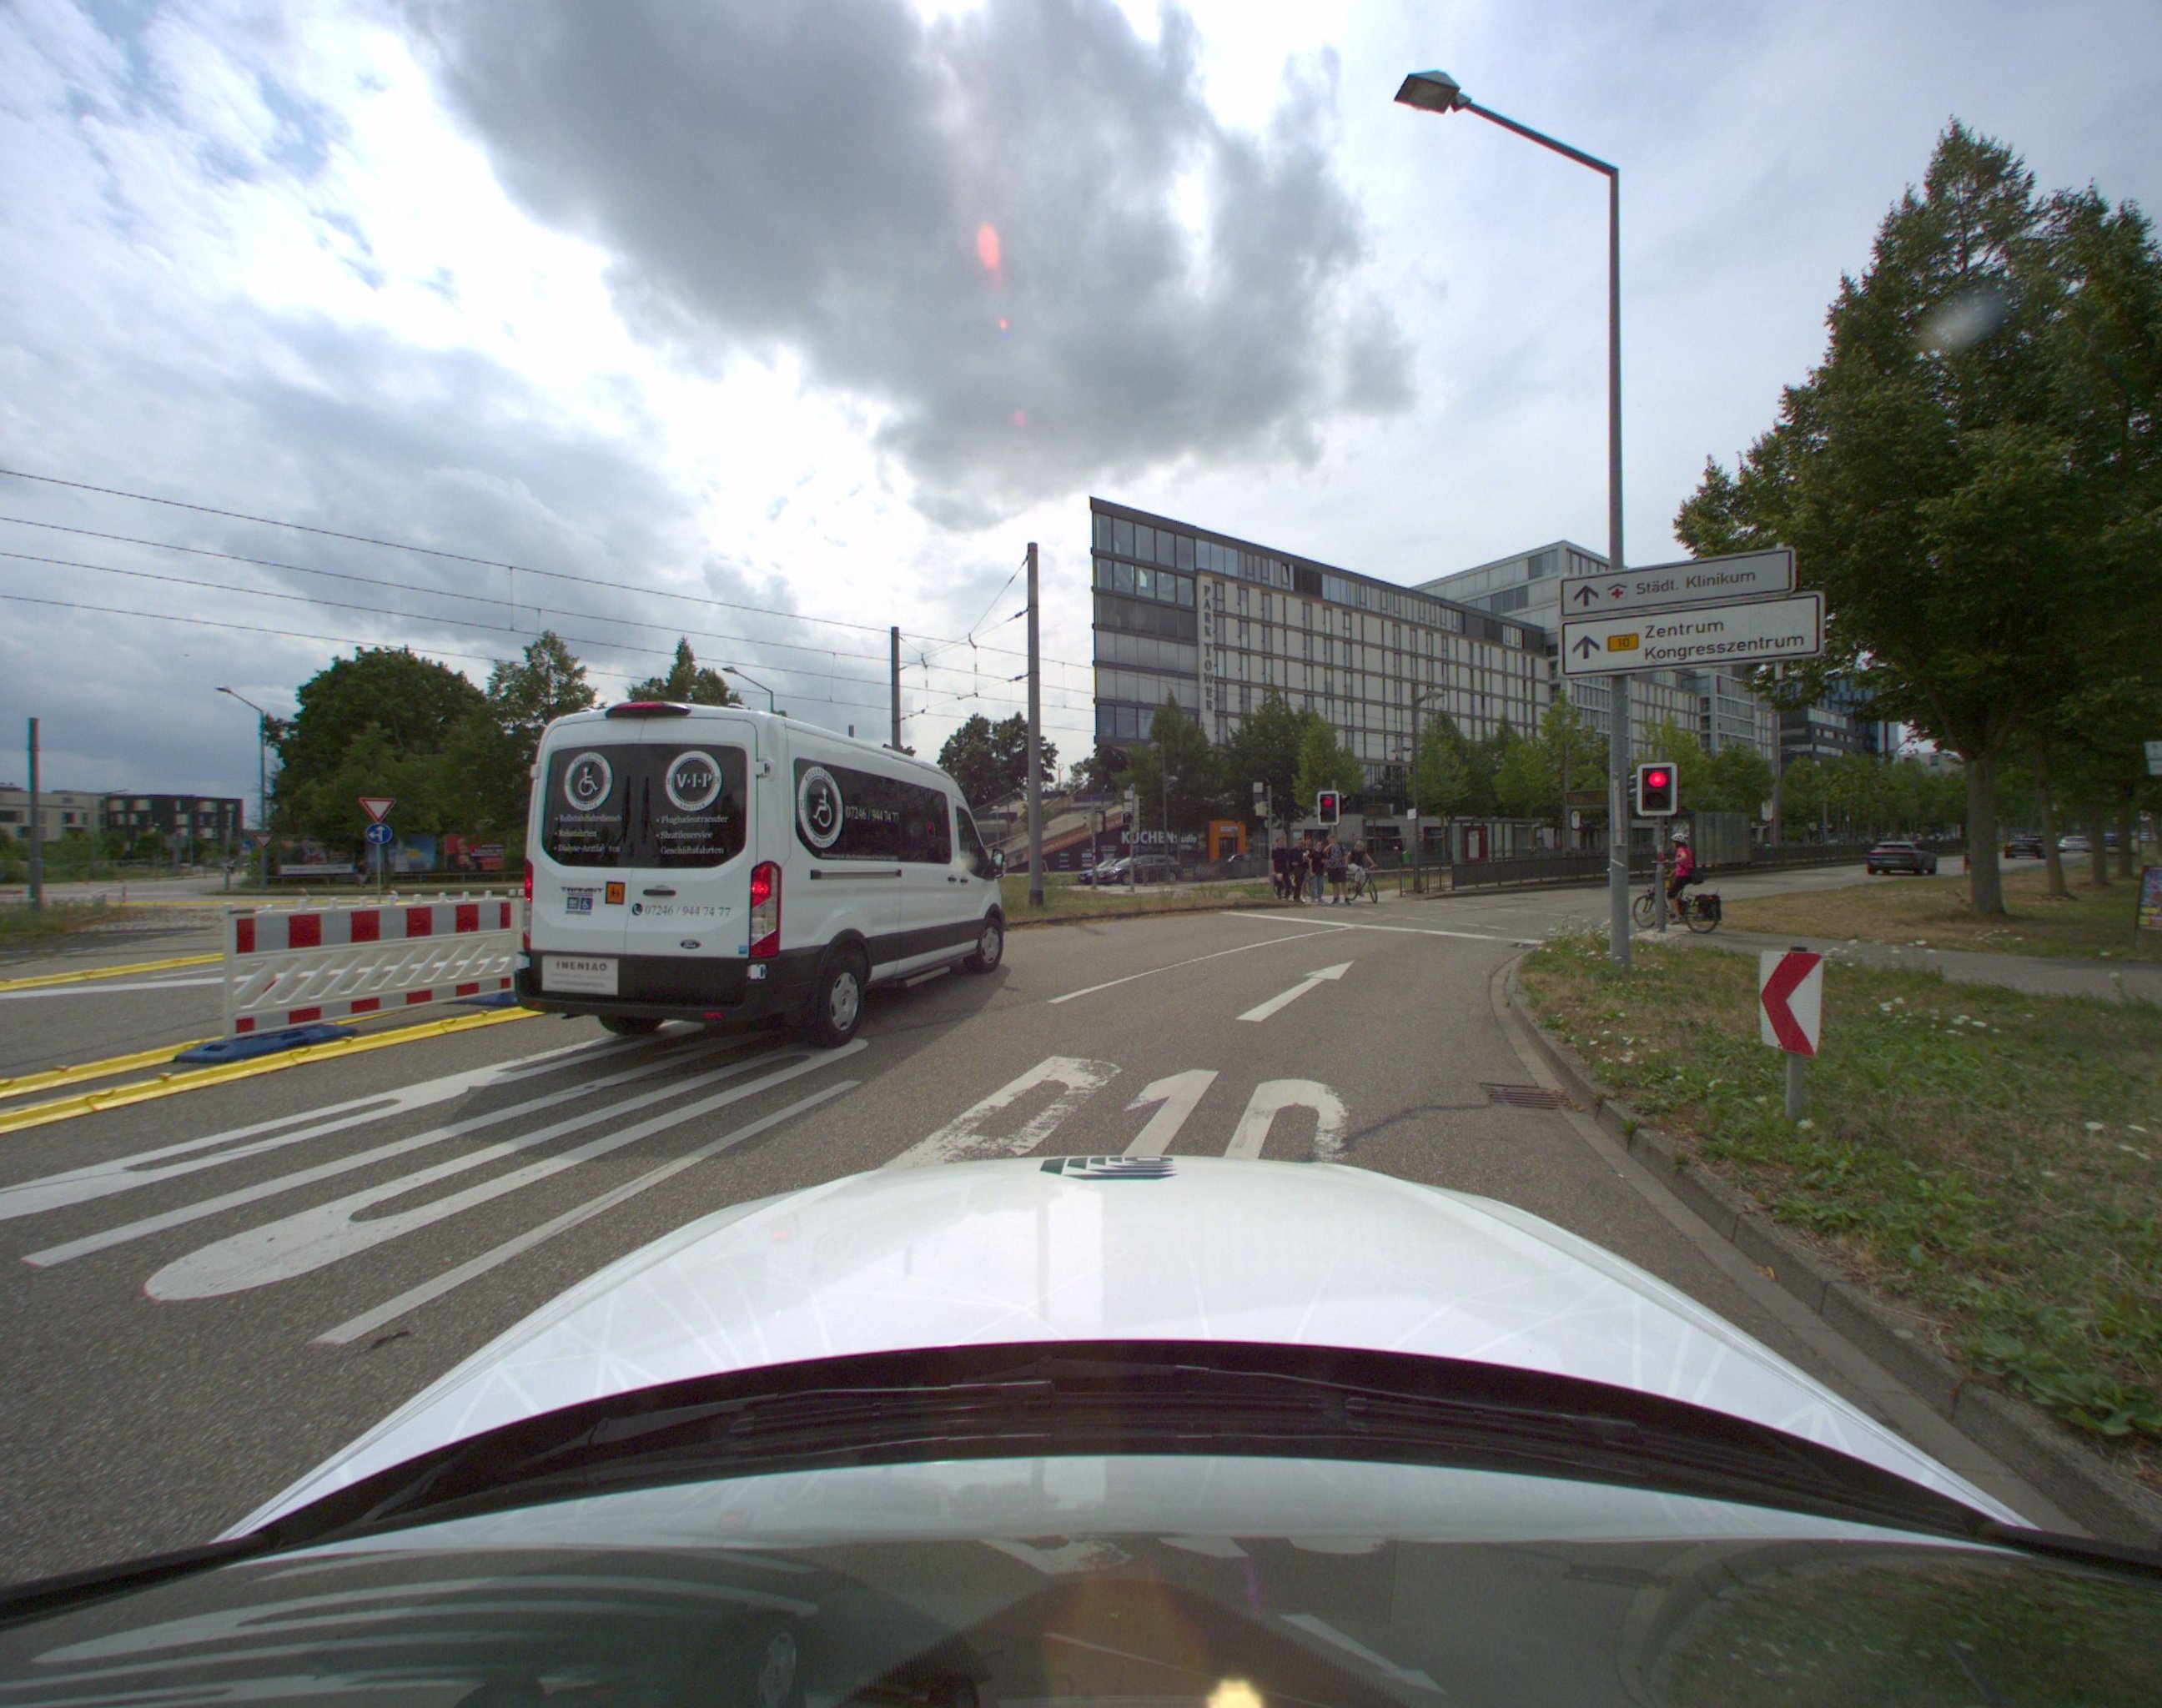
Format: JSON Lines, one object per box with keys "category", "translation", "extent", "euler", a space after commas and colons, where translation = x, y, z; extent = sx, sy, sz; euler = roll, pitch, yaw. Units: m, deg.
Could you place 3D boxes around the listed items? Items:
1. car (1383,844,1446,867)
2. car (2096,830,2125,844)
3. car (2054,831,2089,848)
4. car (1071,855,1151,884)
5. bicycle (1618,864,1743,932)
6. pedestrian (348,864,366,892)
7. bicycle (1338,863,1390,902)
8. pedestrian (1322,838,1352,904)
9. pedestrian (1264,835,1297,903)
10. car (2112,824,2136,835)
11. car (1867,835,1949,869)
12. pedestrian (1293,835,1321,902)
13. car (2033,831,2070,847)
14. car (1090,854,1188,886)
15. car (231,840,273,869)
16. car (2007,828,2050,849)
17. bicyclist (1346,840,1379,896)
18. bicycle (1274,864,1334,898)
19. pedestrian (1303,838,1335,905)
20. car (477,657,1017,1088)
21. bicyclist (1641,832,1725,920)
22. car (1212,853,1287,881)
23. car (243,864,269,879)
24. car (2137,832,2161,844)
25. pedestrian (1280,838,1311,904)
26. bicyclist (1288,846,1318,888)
{"category": "car", "translation": [21.871, 0.092, 53.323], "extent": [4.014, 1.458, 1.830], "euler": [-1, 1, -32]}
{"category": "car", "translation": [112.069, -1.838, 88.609], "extent": [4.135, 1.497, 1.782], "euler": [-1, 0, -36]}
{"category": "car", "translation": [89.649, -1.285, 73.707], "extent": [4.279, 1.462, 1.810], "euler": [-1, 0, -37]}
{"category": "car", "translation": [1.637, 0.825, 44.098], "extent": [4.015, 1.458, 1.830], "euler": [-1, 1, -33]}
{"category": "bicycle", "translation": [11.501, 0.801, 15.730], "extent": [0.788, 1.168, 2.038], "euler": [-1, 0, -5]}
{"category": "pedestrian", "translation": [-42.777, 1.407, 48.103], "extent": [0.445, 1.594, 0.672], "euler": [-1, 0, 1]}
{"category": "bicycle", "translation": [8.056, 0.792, 23.260], "extent": [0.548, 1.058, 1.704], "euler": [0, 0, -16]}
{"category": "pedestrian", "translation": [7.057, 0.450, 22.430], "extent": [0.583, 1.781, 0.546], "euler": [-1, 0, -39]}
{"category": "pedestrian", "translation": [5.348, 0.386, 21.844], "extent": [0.694, 1.781, 0.546], "euler": [-1, 0, -40]}
{"category": "car", "translation": [154.861, -3.666, 120.880], "extent": [4.772, 1.618, 1.978], "euler": [-1, 0, -35]}
{"category": "car", "translation": [39.669, -0.131, 39.036], "extent": [4.494, 1.551, 2.042], "euler": [-1, 1, -35]}
{"category": "pedestrian", "translation": [6.360, 0.395, 22.898], "extent": [0.534, 1.862, 0.546], "euler": [0, 0, -39]}
{"category": "car", "translation": [96.597, -1.490, 81.043], "extent": [4.386, 1.534, 1.716], "euler": [-1, 0, -31]}
{"category": "car", "translation": [2.944, 0.778, 40.812], "extent": [4.755, 1.458, 1.830], "euler": [-1, 1, -33]}
{"category": "car", "translation": [-60.913, 0.074, 59.806], "extent": [3.949, 2.014, 2.012], "euler": [-2, -2, 42]}
{"category": "car", "translation": [69.881, -1.159, 60.051], "extent": [4.164, 1.519, 1.722], "euler": [-1, 1, -36]}
{"category": "bicyclist", "translation": [8.044, 0.382, 23.315], "extent": [0.560, 1.580, 0.761], "euler": [0, 0, -16]}
{"category": "bicycle", "translation": [7.029, 0.835, 25.692], "extent": [0.658, 1.007, 1.735], "euler": [-1, 0, -43]}
{"category": "pedestrian", "translation": [6.456, 0.472, 22.079], "extent": [0.694, 1.781, 0.546], "euler": [-1, 0, -40]}
{"category": "car", "translation": [-2.448, 0.113, 8.054], "extent": [2.112, 2.697, 5.649], "euler": [-1, 0, 11]}
{"category": "bicyclist", "translation": [11.504, 0.400, 15.588], "extent": [0.787, 1.627, 1.047], "euler": [-1, 0, -5]}
{"category": "car", "translation": [9.479, 0.683, 45.808], "extent": [4.014, 1.458, 1.830], "euler": [-1, 1, -32]}
{"category": "car", "translation": [-108.851, 2.350, 107.513], "extent": [2.010, 1.849, 3.953], "euler": [0, -2, -39]}
{"category": "car", "translation": [153.616, -2.310, 116.935], "extent": [4.769, 1.618, 1.980], "euler": [-1, 0, -32]}
{"category": "pedestrian", "translation": [5.908, 0.448, 22.439], "extent": [0.636, 1.781, 0.546], "euler": [-1, 0, -39]}
{"category": "bicyclist", "translation": [7.004, 0.401, 25.724], "extent": [0.644, 1.317, 0.667], "euler": [-1, 0, -45]}
